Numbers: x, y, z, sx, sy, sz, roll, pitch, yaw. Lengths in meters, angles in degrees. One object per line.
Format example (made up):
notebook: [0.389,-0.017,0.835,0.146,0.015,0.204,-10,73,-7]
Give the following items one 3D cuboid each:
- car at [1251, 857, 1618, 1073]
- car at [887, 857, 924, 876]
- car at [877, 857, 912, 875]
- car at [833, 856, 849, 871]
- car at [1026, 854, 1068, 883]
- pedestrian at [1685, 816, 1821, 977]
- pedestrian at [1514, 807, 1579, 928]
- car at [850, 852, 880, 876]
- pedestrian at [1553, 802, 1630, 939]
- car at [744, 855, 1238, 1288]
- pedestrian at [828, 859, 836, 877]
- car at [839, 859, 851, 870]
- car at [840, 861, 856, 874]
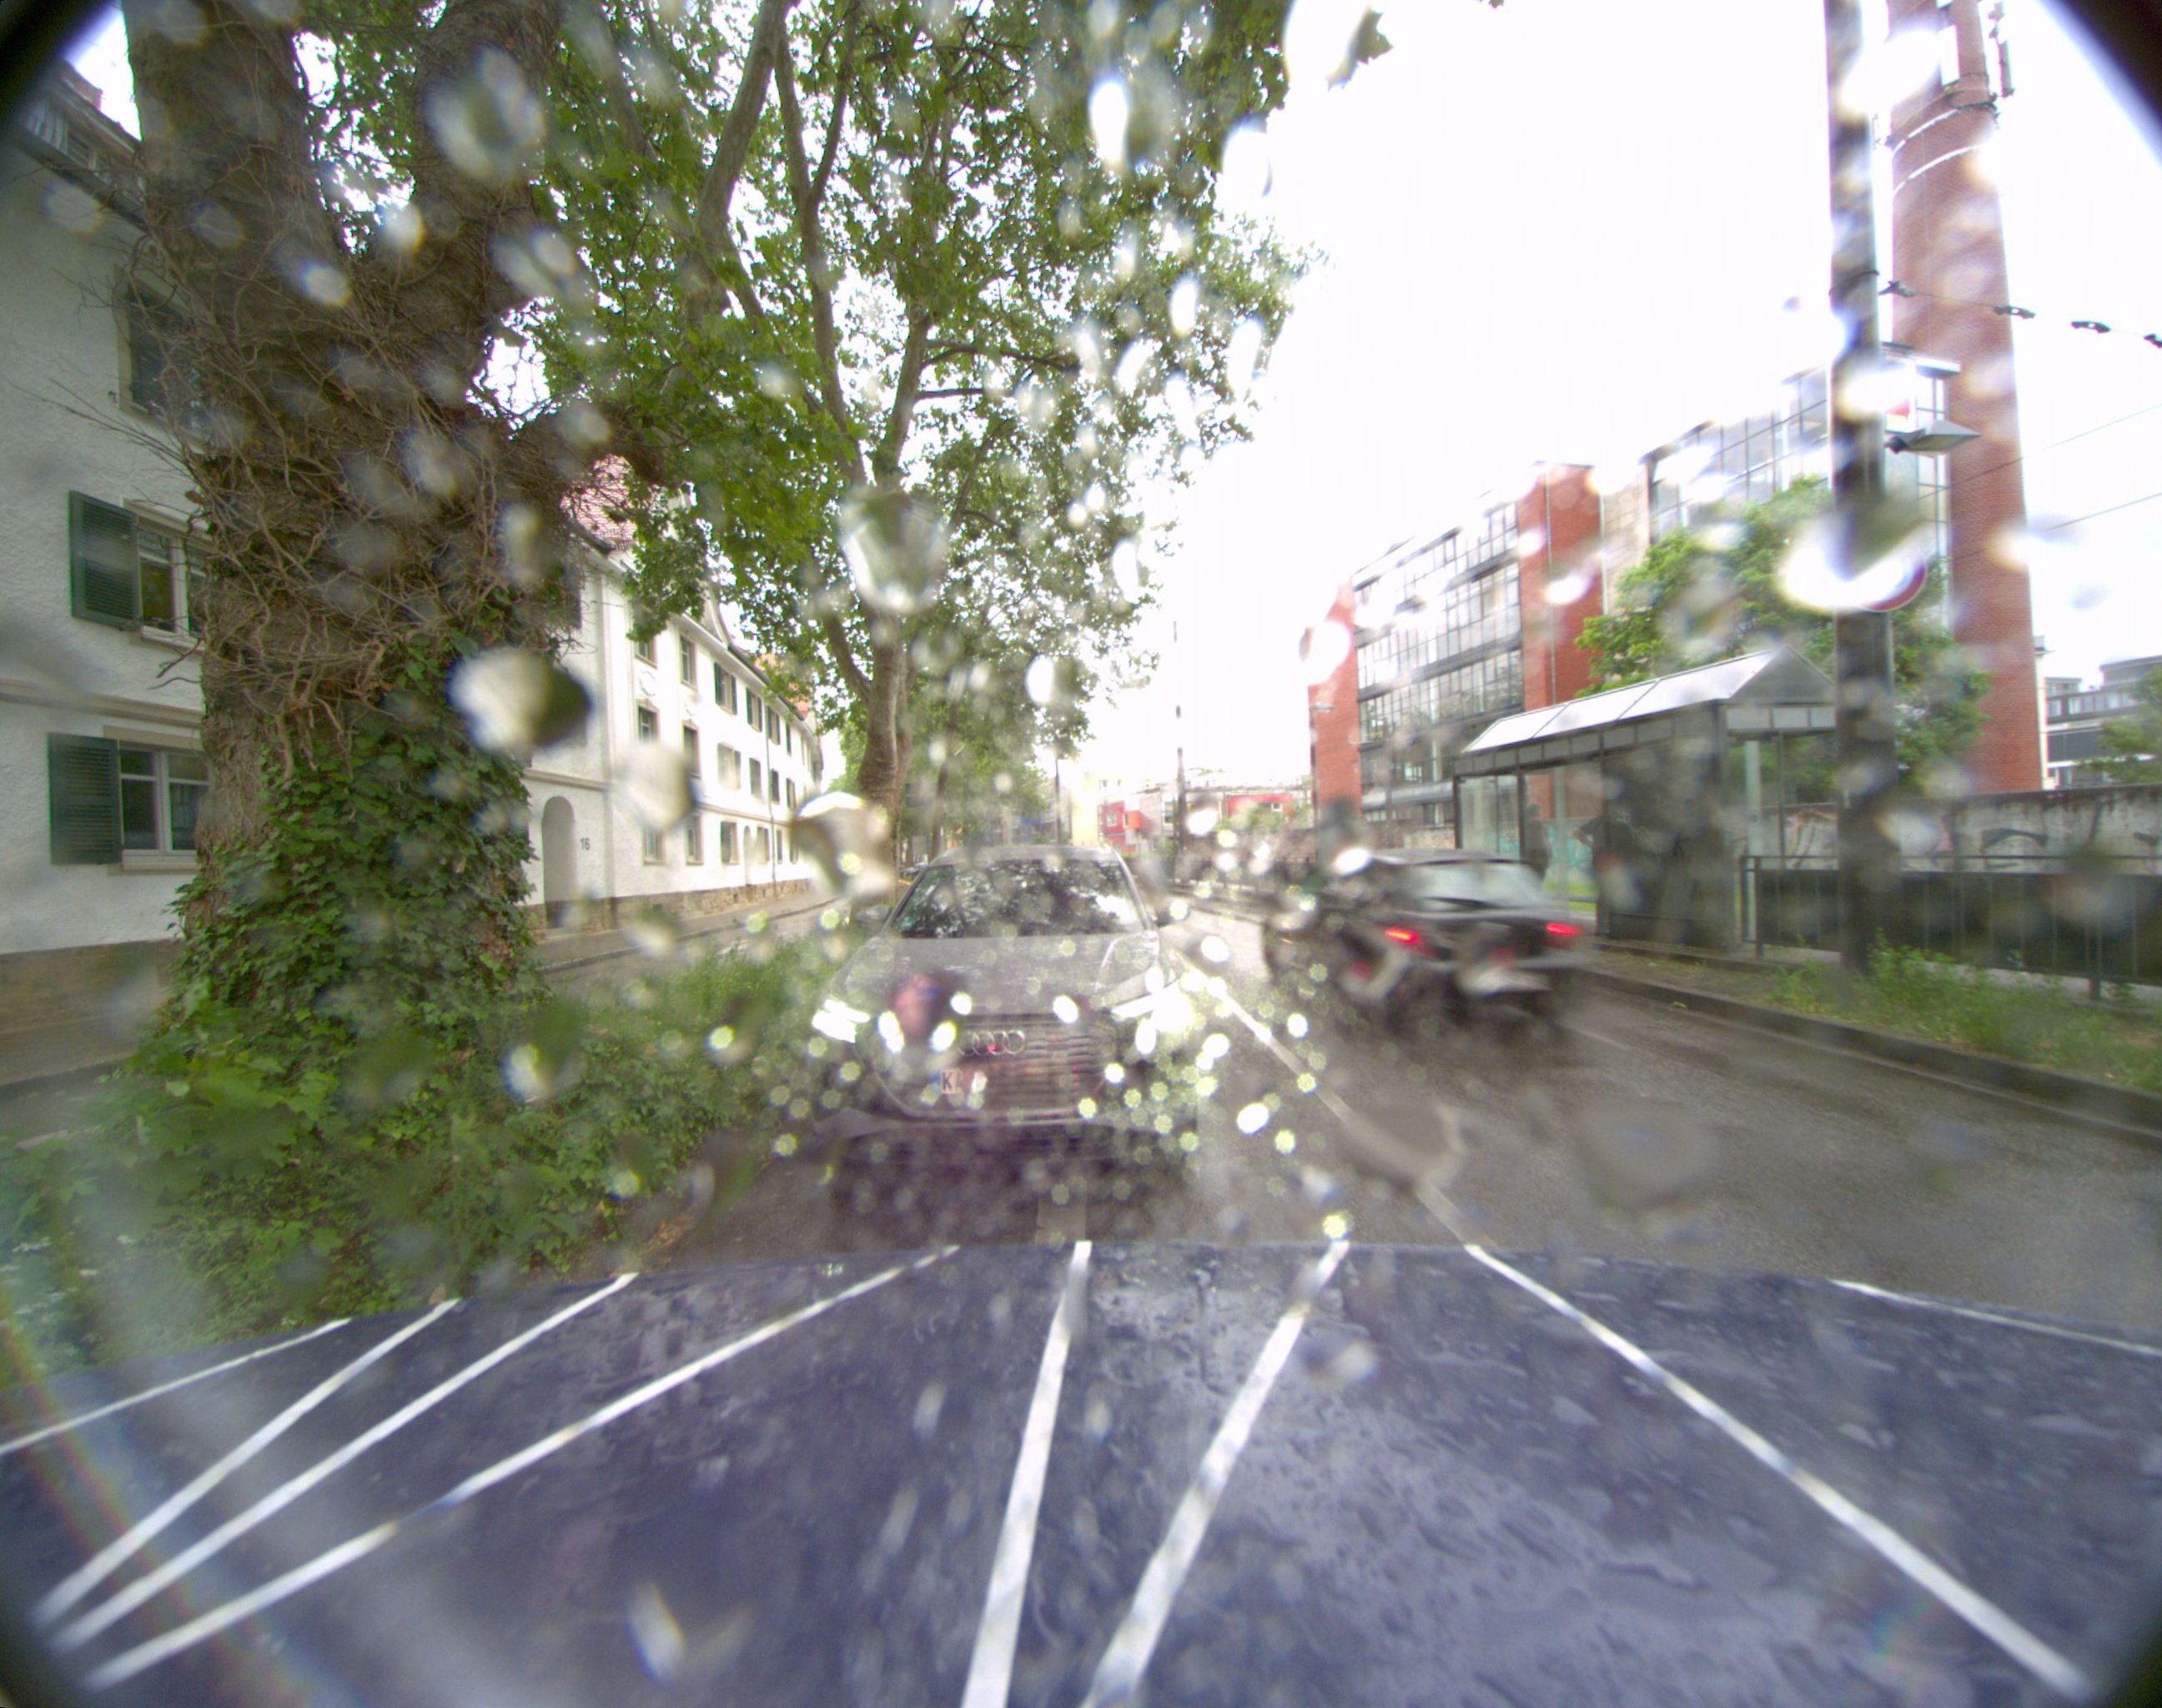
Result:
car: [3.003,0.817,7.404,1.718,1.451,3.747,-2,1,-2]
car: [-20.240,1.461,87.555,4.002,2.002,1.997,-2,0,-17]
car: [-23.212,1.495,94.649,4.002,2.002,1.997,-2,0,-17]
car: [-34.644,1.349,109.677,2.002,2.001,3.993,3,-1,-20]
car: [-2.168,0.868,47.326,1.809,1.673,4.599,-3,0,-11]
pedestrian: [7.984,0.483,9.062,0.828,1.794,0.843,-3,1,-10]
pedestrian: [6.877,0.198,11.248,0.629,1.738,0.514,-2,1,9]
car: [-22.402,1.039,78.746,2.199,2.250,5.401,-3,0,-24]
pedestrian: [6.732,0.217,10.035,0.629,1.738,0.564,-2,1,9]
car: [-0.414,0.872,5.111,1.917,1.632,4.106,-2,0,-2]
pedestrian: [-25.820,1.479,78.703,0.674,1.811,0.678,-3,1,-18]
car: [-45.689,1.952,146.983,2.002,2.001,3.993,3,-1,-20]
car: [-29.826,1.714,97.258,1.834,1.517,3.993,-2,1,-19]
